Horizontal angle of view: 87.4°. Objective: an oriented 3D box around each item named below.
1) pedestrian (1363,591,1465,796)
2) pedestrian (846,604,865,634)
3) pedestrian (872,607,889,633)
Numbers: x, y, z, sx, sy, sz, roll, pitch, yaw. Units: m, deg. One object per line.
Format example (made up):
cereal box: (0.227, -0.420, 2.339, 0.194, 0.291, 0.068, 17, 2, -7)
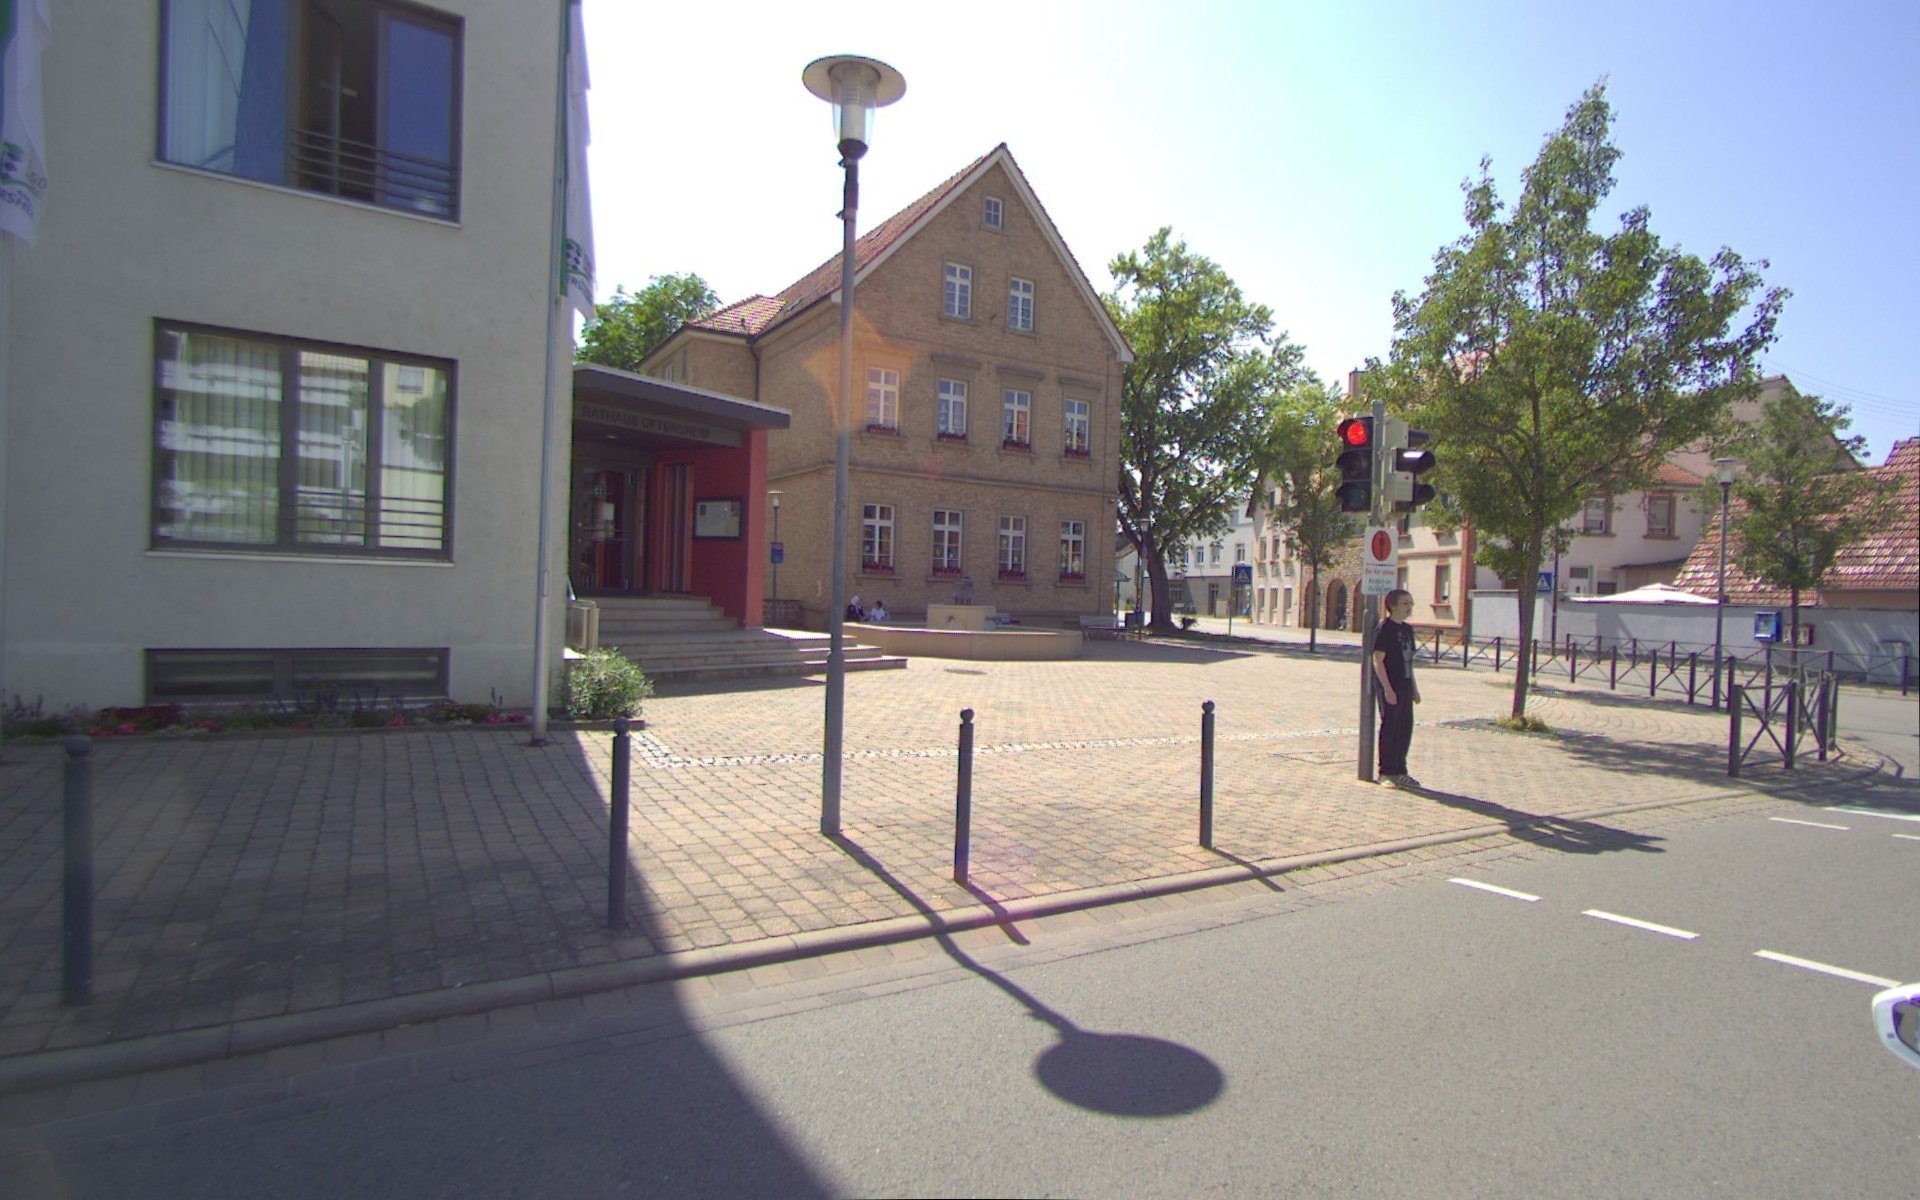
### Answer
pedestrian: (3.800, 0.758, 8.439, 0.546, 1.640, 0.550, 3, 0, 4)
pedestrian: (-2.944, 0.542, 28.392, 0.356, 0.828, 0.365, 2, 0, 42)
pedestrian: (-2.290, 0.577, 28.887, 0.352, 0.742, 0.288, 2, 0, 43)
